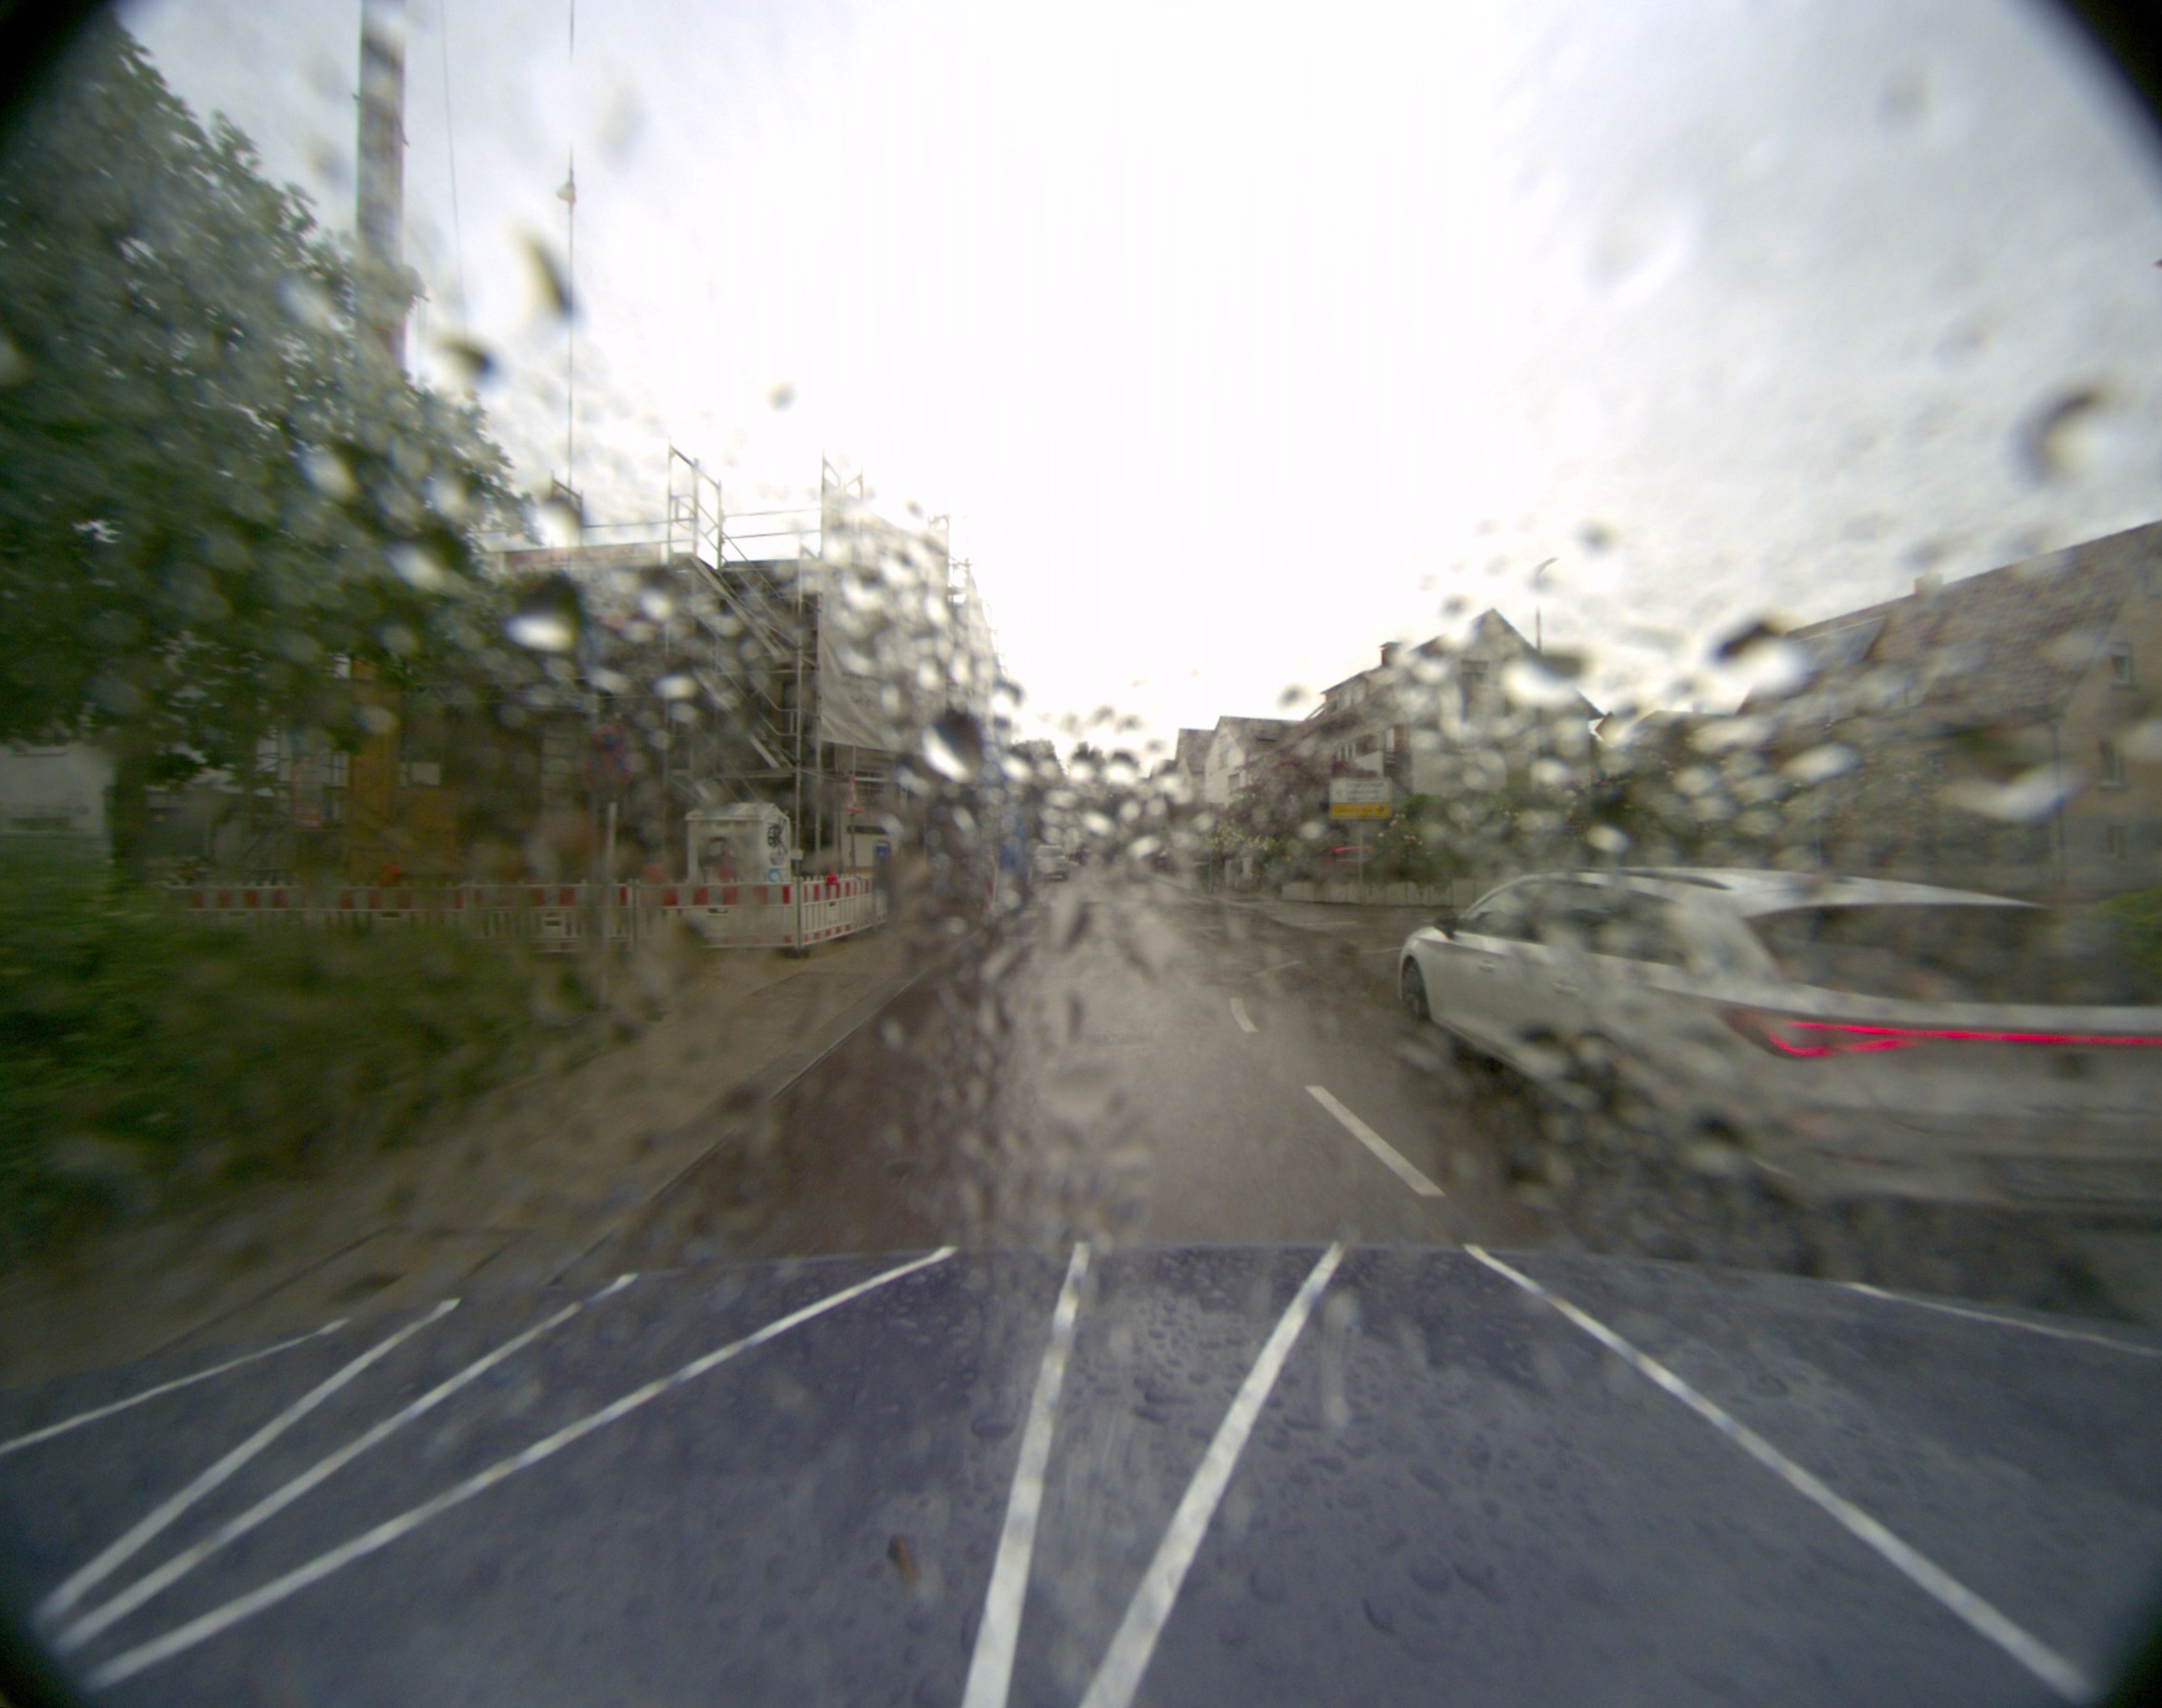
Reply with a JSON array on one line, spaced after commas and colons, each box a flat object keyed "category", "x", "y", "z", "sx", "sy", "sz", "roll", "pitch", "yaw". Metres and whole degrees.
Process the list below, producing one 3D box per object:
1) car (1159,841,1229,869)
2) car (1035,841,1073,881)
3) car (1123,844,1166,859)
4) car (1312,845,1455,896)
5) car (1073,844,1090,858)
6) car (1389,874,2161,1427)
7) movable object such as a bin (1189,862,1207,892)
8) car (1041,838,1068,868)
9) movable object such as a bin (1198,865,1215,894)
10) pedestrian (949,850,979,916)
[{"category": "car", "x": 7.109, "y": 0.076, "z": 48.115, "sx": 4.001, "sy": 1.696, "sz": 1.779, "roll": -1, "pitch": 1, "yaw": -13}, {"category": "car", "x": -1.359, "y": 0.303, "z": 39.778, "sx": 1.827, "sy": 1.964, "sz": 4.516, "roll": -1, "pitch": 1, "yaw": -1}, {"category": "car", "x": 5.823, "y": -0.222, "z": 69.733, "sx": 3.685, "sy": 1.346, "sz": 1.761, "roll": 0, "pitch": 1, "yaw": -36}, {"category": "car", "x": 9.901, "y": 0.513, "z": 24.995, "sx": 4.000, "sy": 1.590, "sz": 1.719, "roll": 1, "pitch": 1, "yaw": -9}, {"category": "car", "x": 0.046, "y": -0.358, "z": 89.482, "sx": 1.709, "sy": 1.508, "sz": 3.590, "roll": -1, "pitch": 1, "yaw": -4}, {"category": "car", "x": 3.262, "y": 0.935, "z": 4.331, "sx": 1.590, "sy": 1.401, "sz": 4.210, "roll": 0, "pitch": 2, "yaw": 5}, {"category": "movable object such as a bin", "x": 4.304, "y": 0.853, "z": 28.032, "sx": 0.521, "sy": 1.043, "sz": 0.414, "roll": -4, "pitch": 1, "yaw": 0}, {"category": "car", "x": -1.966, "y": -0.102, "z": 56.147, "sx": 1.711, "sy": 2.089, "sz": 3.938, "roll": -1, "pitch": 0, "yaw": -5}, {"category": "movable object such as a bin", "x": 4.546, "y": 0.911, "z": 27.499, "sx": 0.521, "sy": 1.020, "sz": 0.414, "roll": 0, "pitch": 1, "yaw": 0}, {"category": "pedestrian", "x": -2.826, "y": 0.700, "z": 18.372, "sx": 0.656, "sy": 1.572, "sz": 0.436, "roll": 1, "pitch": 1, "yaw": -1}]
